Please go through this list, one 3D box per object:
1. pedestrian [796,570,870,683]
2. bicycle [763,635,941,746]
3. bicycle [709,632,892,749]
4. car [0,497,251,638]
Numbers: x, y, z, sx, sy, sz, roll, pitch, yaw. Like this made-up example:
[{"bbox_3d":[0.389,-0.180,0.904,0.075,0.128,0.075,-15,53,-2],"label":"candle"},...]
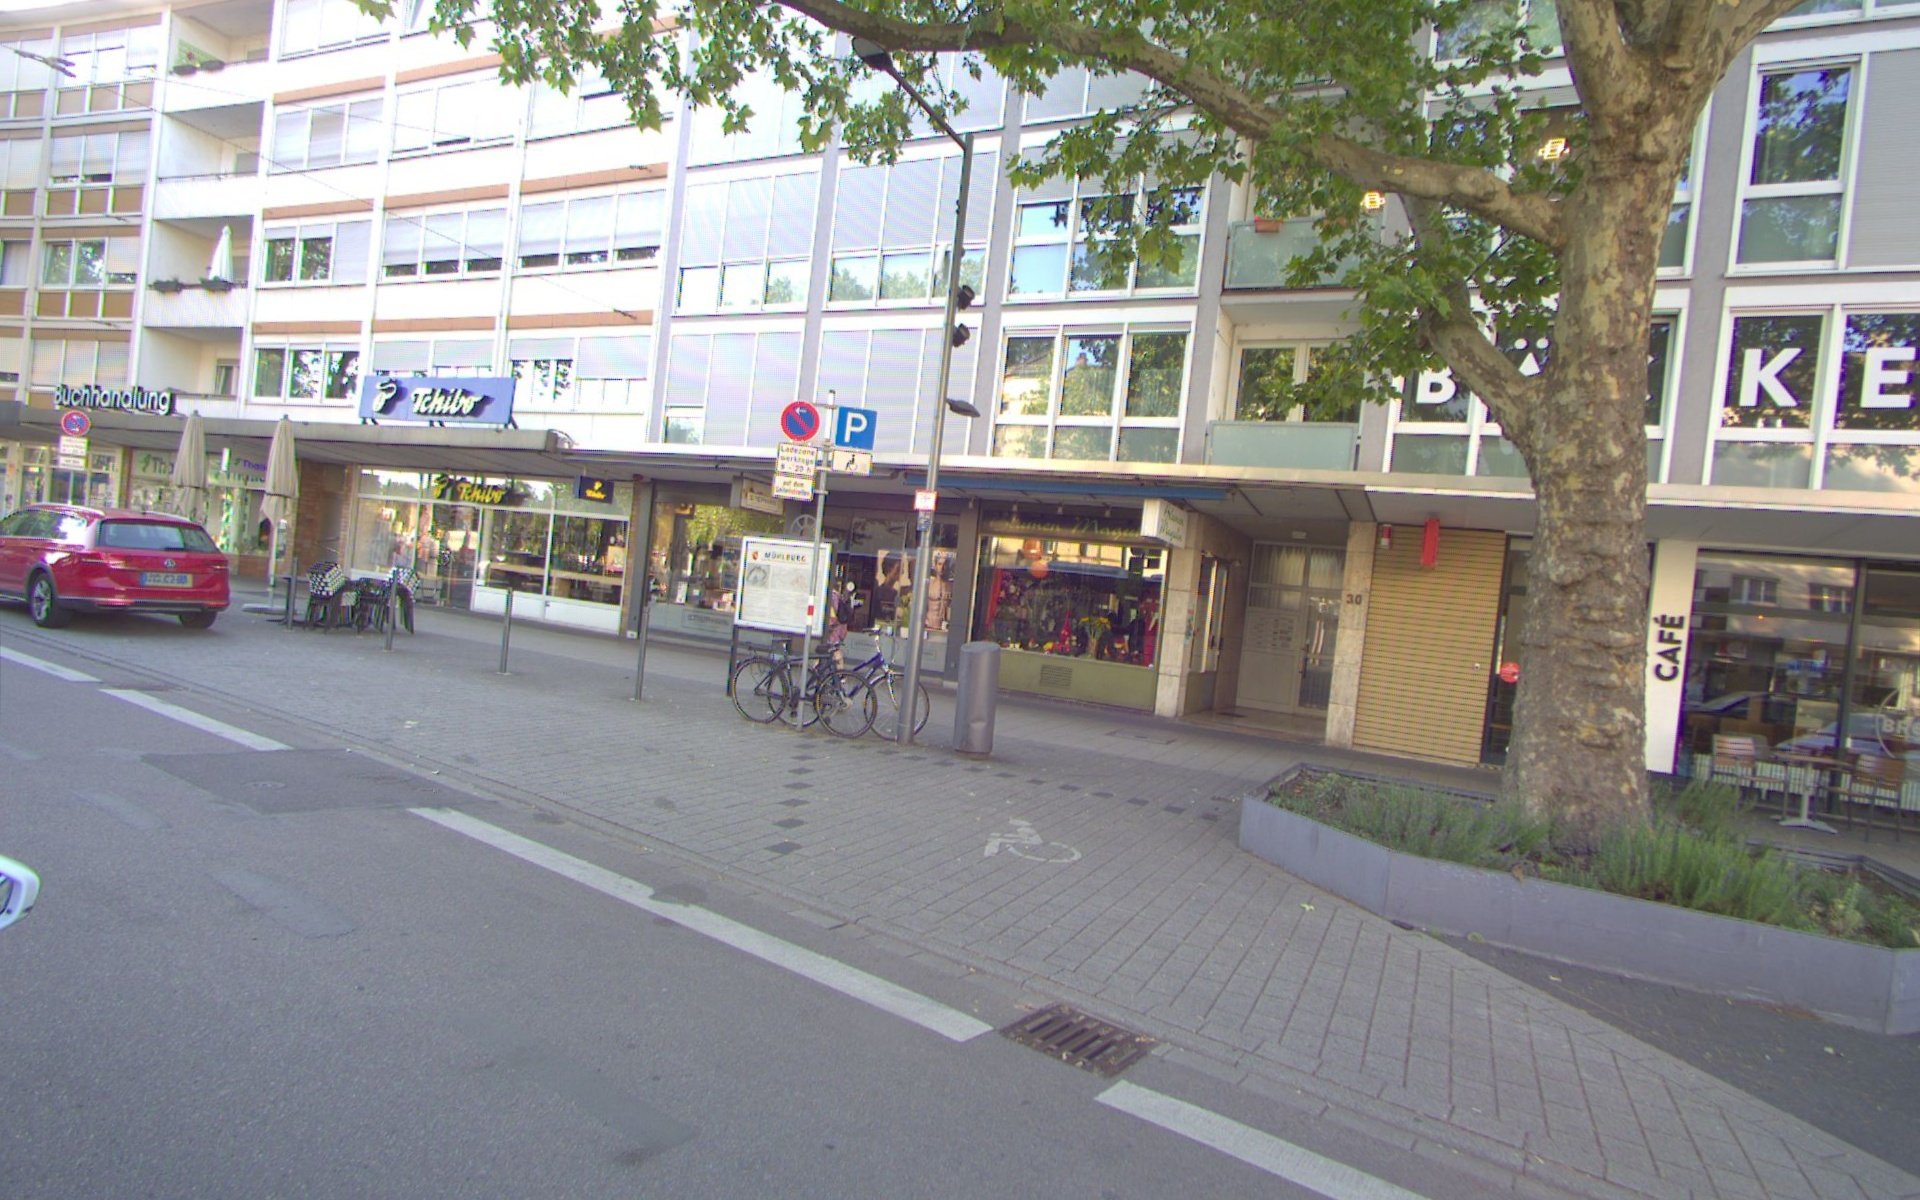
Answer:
[{"bbox_3d":[-1.939,0.400,15.387,0.776,1.613,0.651,7,3,26],"label":"pedestrian"},{"bbox_3d":[-1.134,0.930,10.554,1.743,0.931,0.391,6,2,12],"label":"bicycle"},{"bbox_3d":[-1.625,0.900,10.234,1.743,0.951,0.391,6,2,12],"label":"bicycle"},{"bbox_3d":[-11.639,-0.492,13.434,4.229,1.502,1.772,6,1,28],"label":"car"}]
